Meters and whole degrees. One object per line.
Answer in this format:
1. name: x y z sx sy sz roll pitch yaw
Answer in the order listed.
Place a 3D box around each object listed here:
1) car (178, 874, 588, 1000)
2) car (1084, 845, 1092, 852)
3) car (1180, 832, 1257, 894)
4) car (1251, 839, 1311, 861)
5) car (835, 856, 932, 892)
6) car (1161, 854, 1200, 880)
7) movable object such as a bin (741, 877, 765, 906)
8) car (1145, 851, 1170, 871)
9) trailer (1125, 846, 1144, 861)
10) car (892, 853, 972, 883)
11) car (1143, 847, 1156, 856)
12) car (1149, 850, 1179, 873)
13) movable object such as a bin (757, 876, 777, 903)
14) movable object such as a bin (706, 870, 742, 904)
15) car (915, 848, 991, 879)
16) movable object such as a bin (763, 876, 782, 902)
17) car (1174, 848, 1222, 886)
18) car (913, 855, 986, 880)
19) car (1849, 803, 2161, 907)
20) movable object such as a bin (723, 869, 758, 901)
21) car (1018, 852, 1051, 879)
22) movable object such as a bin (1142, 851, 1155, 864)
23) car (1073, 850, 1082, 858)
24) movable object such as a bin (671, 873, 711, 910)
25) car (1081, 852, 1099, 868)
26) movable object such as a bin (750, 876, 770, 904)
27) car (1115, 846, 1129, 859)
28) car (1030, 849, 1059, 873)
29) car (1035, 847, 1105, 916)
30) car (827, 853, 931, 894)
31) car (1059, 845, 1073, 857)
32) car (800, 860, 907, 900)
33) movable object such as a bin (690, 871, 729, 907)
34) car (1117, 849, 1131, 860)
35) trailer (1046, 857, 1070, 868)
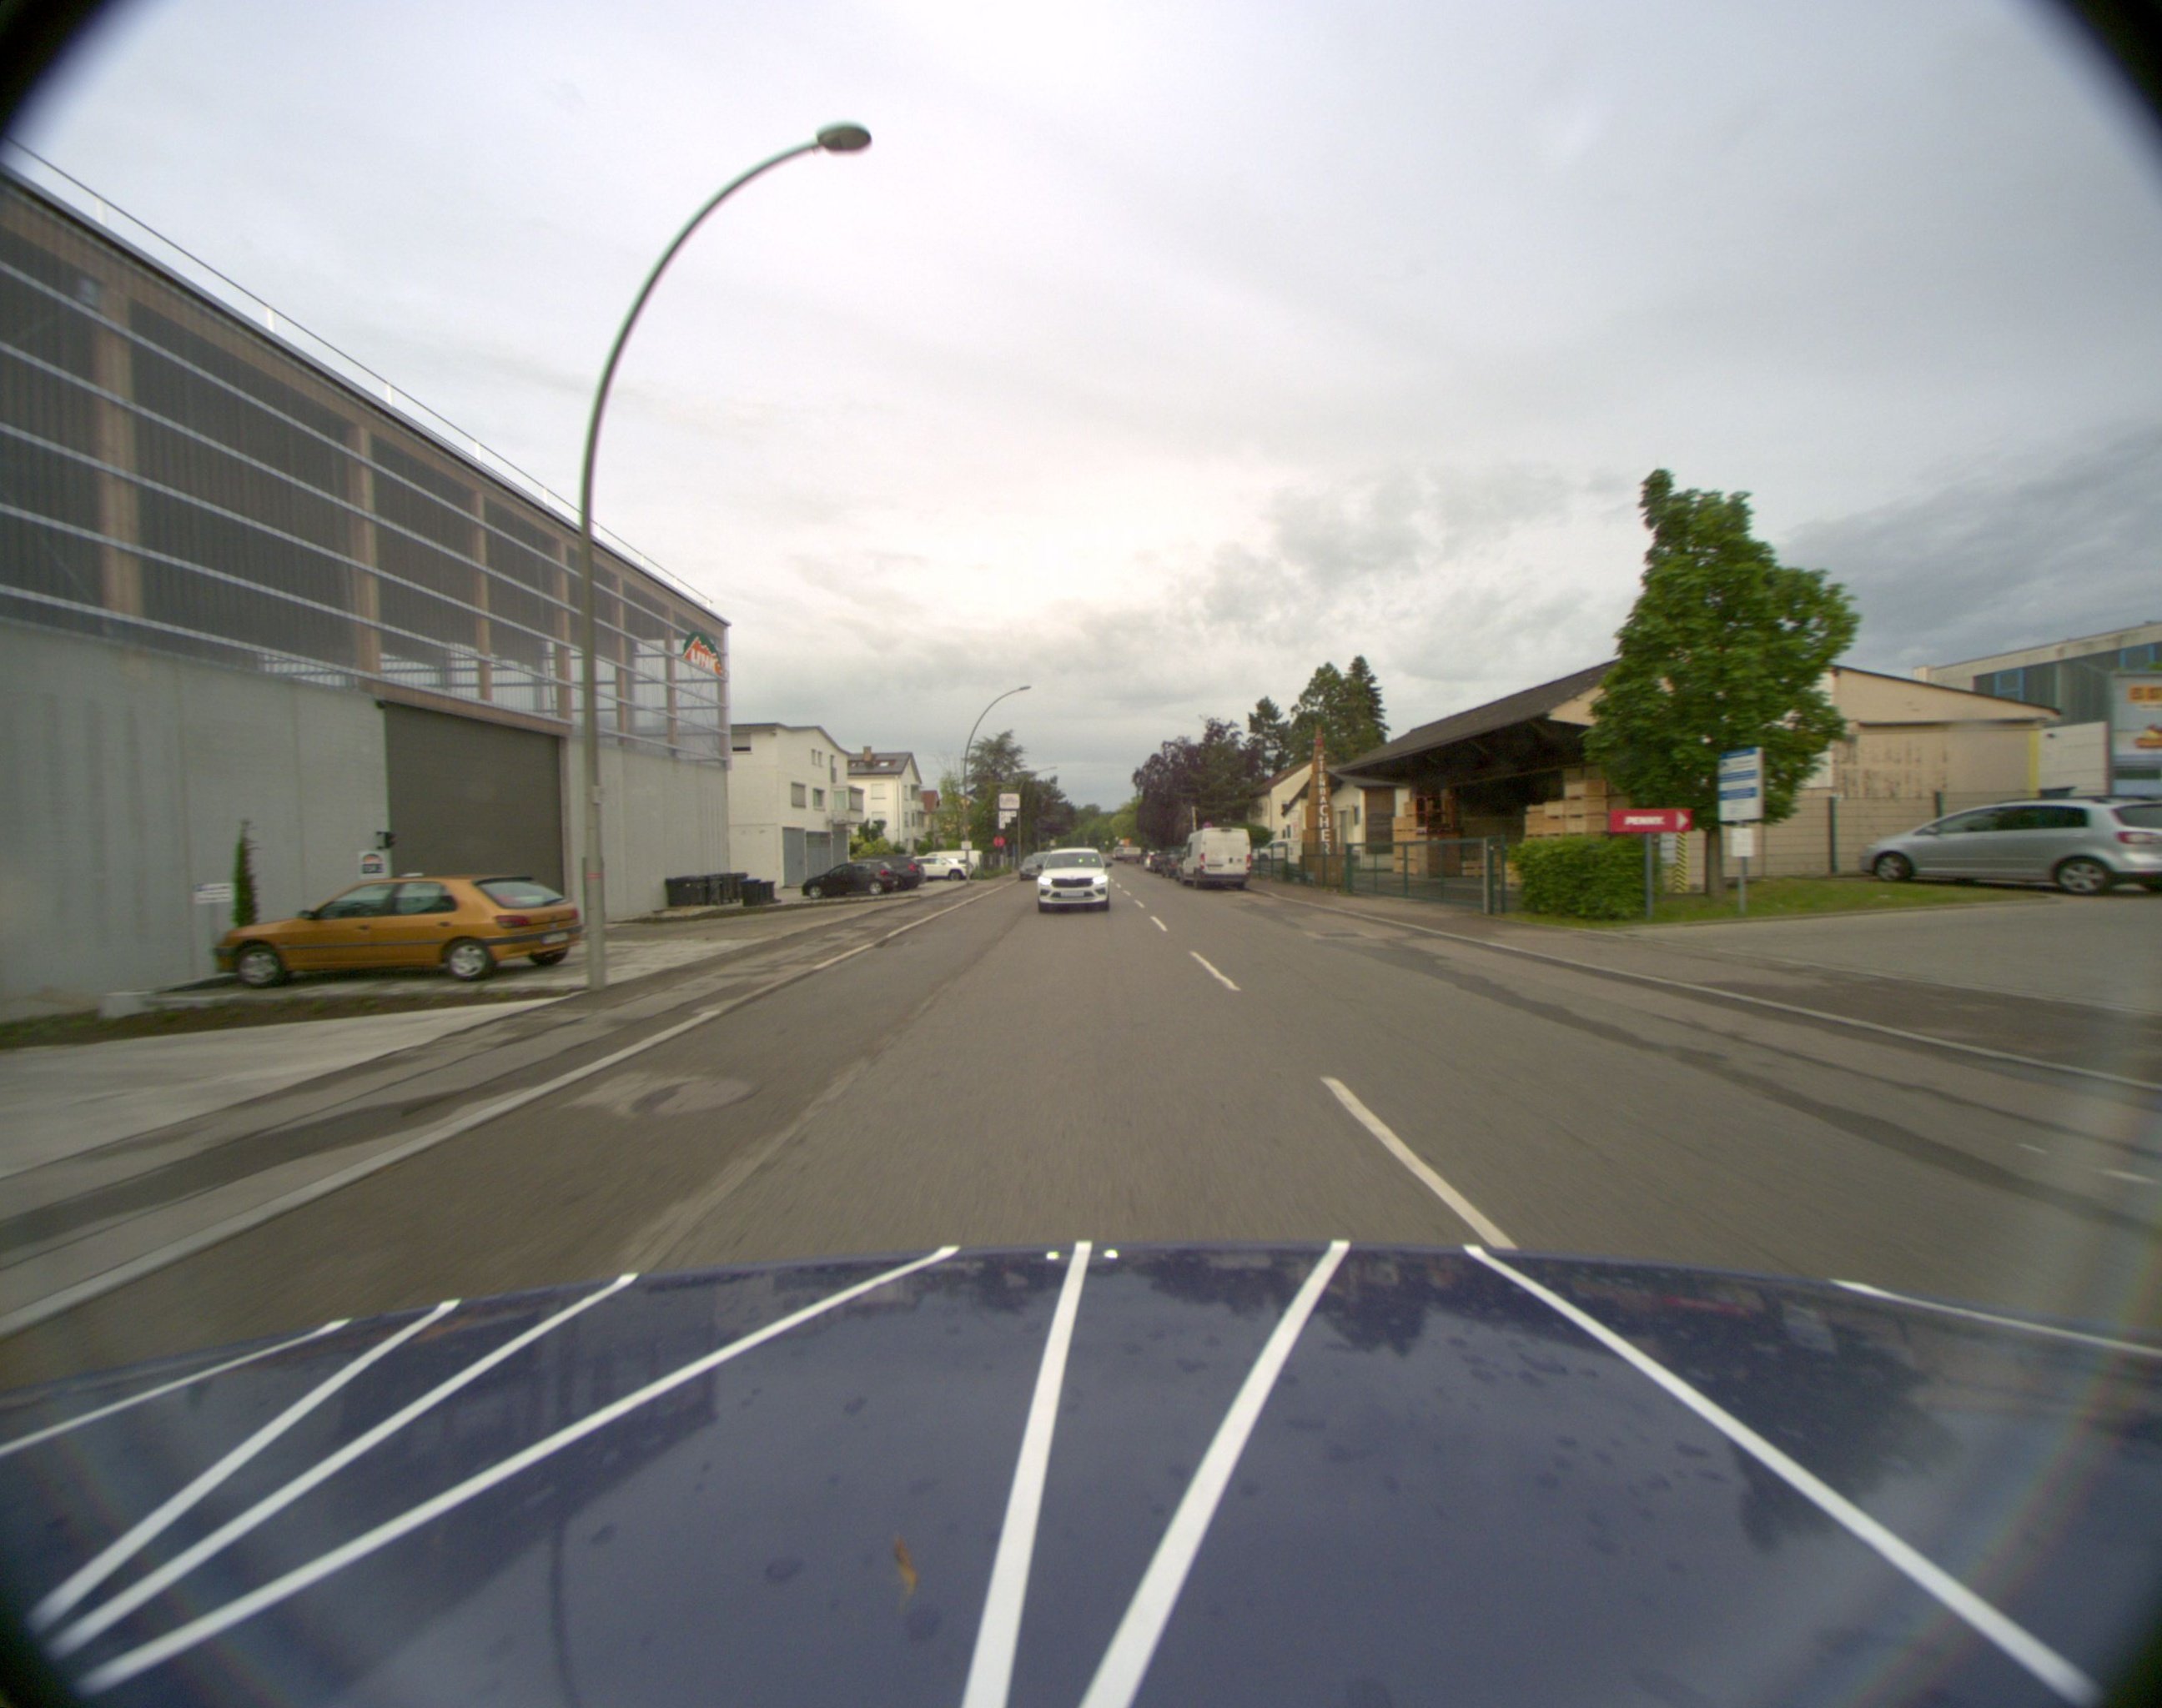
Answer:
1. car: -9.309 1.063 10.394 3.997 1.422 1.630 -2 1 -1
2. car: 1.646 -1.372 180.966 1.898 1.678 4.230 0 1 1
3. car: 5.878 0.333 33.349 2.163 2.413 6.459 2 1 0
4. car: 18.388 -0.367 69.950 5.010 1.846 2.000 -2 1 2
5. car: -9.798 0.968 37.921 4.254 1.527 1.811 -3 1 0
6. car: 5.901 0.737 45.590 1.665 1.440 4.316 0 1 -1
7. movable object such as a bin: -12.777 1.459 29.584 0.575 1.049 0.644 -2 1 1
8. car: 5.981 0.492 59.784 1.620 1.500 3.660 0 1 1
9. trailer: 6.427 -0.112 91.685 1.934 1.755 4.547 -2 1 1
10. car: -9.011 0.834 46.163 4.457 1.615 1.893 -2 1 -1
11. car: 11.634 -0.499 129.275 1.833 1.432 4.787 -2 1 -1
12. car: 5.932 0.498 54.783 1.665 1.575 3.915 1 1 -1
13. movable object such as a bin: -12.720 1.428 30.769 0.496 1.049 0.552 -2 1 1
14. movable object such as a bin: -15.150 1.381 32.299 0.840 1.332 1.285 -2 1 2
15. car: -8.630 0.613 51.436 4.743 1.875 2.000 -2 1 0
16. movable object such as a bin: -12.702 1.437 31.313 0.518 1.049 0.505 -2 1 1
17. car: 5.958 0.612 39.147 1.774 1.758 4.445 2 1 1
18. car: -8.437 0.879 48.874 4.331 1.371 1.850 -2 1 -1
19. car: 16.753 -0.018 13.605 1.650 1.578 4.042 -2 1 -7
20. movable object such as a bin: -15.125 1.359 33.759 0.840 1.332 1.330 -2 1 2
21. car: -2.783 0.670 46.693 1.743 1.458 4.544 -2 1 -1
22. movable object such as a bin: 6.817 0.340 76.433 1.103 1.303 1.425 -2 1 0
23. car: -0.653 -0.054 151.881 1.743 1.458 4.544 -2 1 -1
24. movable object such as a bin: -15.187 1.442 29.634 0.840 1.332 1.213 -2 1 2
25. car: 0.879 0.586 77.210 1.743 1.458 3.838 -2 1 -1
26. movable object such as a bin: -12.739 1.437 30.188 0.514 1.049 0.543 -2 1 1
27. car: 6.332 -0.244 117.748 1.898 1.881 5.209 0 1 1
28. car: -2.699 0.521 57.111 1.743 1.612 4.373 -2 1 2
29. car: -0.335 0.672 21.052 1.692 1.651 3.999 -2 1 -2
30. car: -9.310 0.886 35.299 4.237 1.665 1.980 -2 1 0
31. car: -2.332 -0.497 119.407 1.736 1.817 5.552 -3 1 2
32. car: -9.750 1.086 32.773 3.976 1.481 1.833 -2 1 2
33. movable object such as a bin: -15.105 1.407 30.962 0.840 1.332 1.321 -2 1 2
34. car: 6.375 0.063 112.314 1.821 1.419 4.980 0 1 1
35. trailer: -2.243 0.790 75.956 2.179 0.892 6.635 -2 0 0
